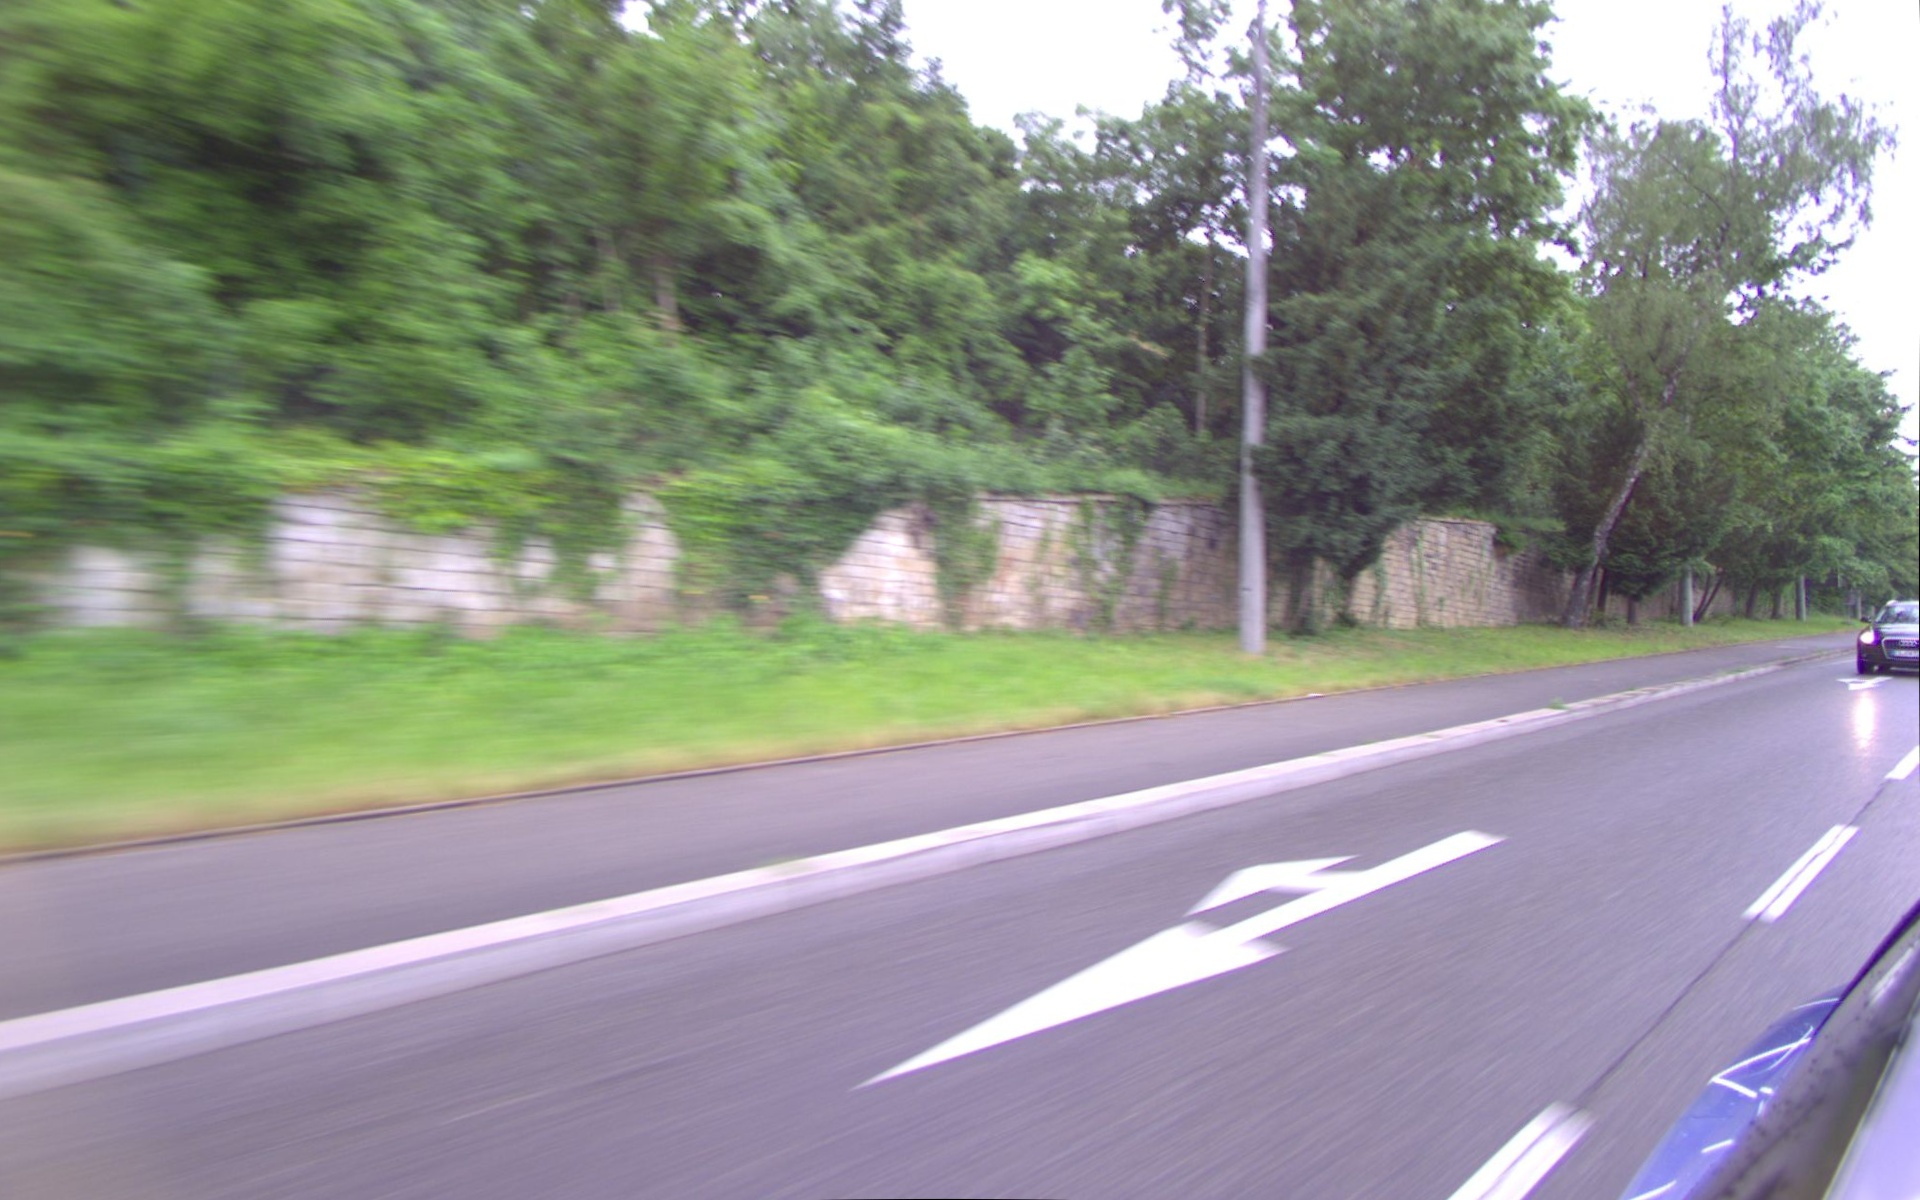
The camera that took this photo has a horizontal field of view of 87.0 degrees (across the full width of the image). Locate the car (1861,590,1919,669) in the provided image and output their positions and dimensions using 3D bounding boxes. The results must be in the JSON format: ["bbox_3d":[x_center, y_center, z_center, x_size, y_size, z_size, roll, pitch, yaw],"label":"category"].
[{"bbox_3d":[21.429,0.605,22.201,4.203,1.621,1.926,0,1,-40],"label":"car"}]
